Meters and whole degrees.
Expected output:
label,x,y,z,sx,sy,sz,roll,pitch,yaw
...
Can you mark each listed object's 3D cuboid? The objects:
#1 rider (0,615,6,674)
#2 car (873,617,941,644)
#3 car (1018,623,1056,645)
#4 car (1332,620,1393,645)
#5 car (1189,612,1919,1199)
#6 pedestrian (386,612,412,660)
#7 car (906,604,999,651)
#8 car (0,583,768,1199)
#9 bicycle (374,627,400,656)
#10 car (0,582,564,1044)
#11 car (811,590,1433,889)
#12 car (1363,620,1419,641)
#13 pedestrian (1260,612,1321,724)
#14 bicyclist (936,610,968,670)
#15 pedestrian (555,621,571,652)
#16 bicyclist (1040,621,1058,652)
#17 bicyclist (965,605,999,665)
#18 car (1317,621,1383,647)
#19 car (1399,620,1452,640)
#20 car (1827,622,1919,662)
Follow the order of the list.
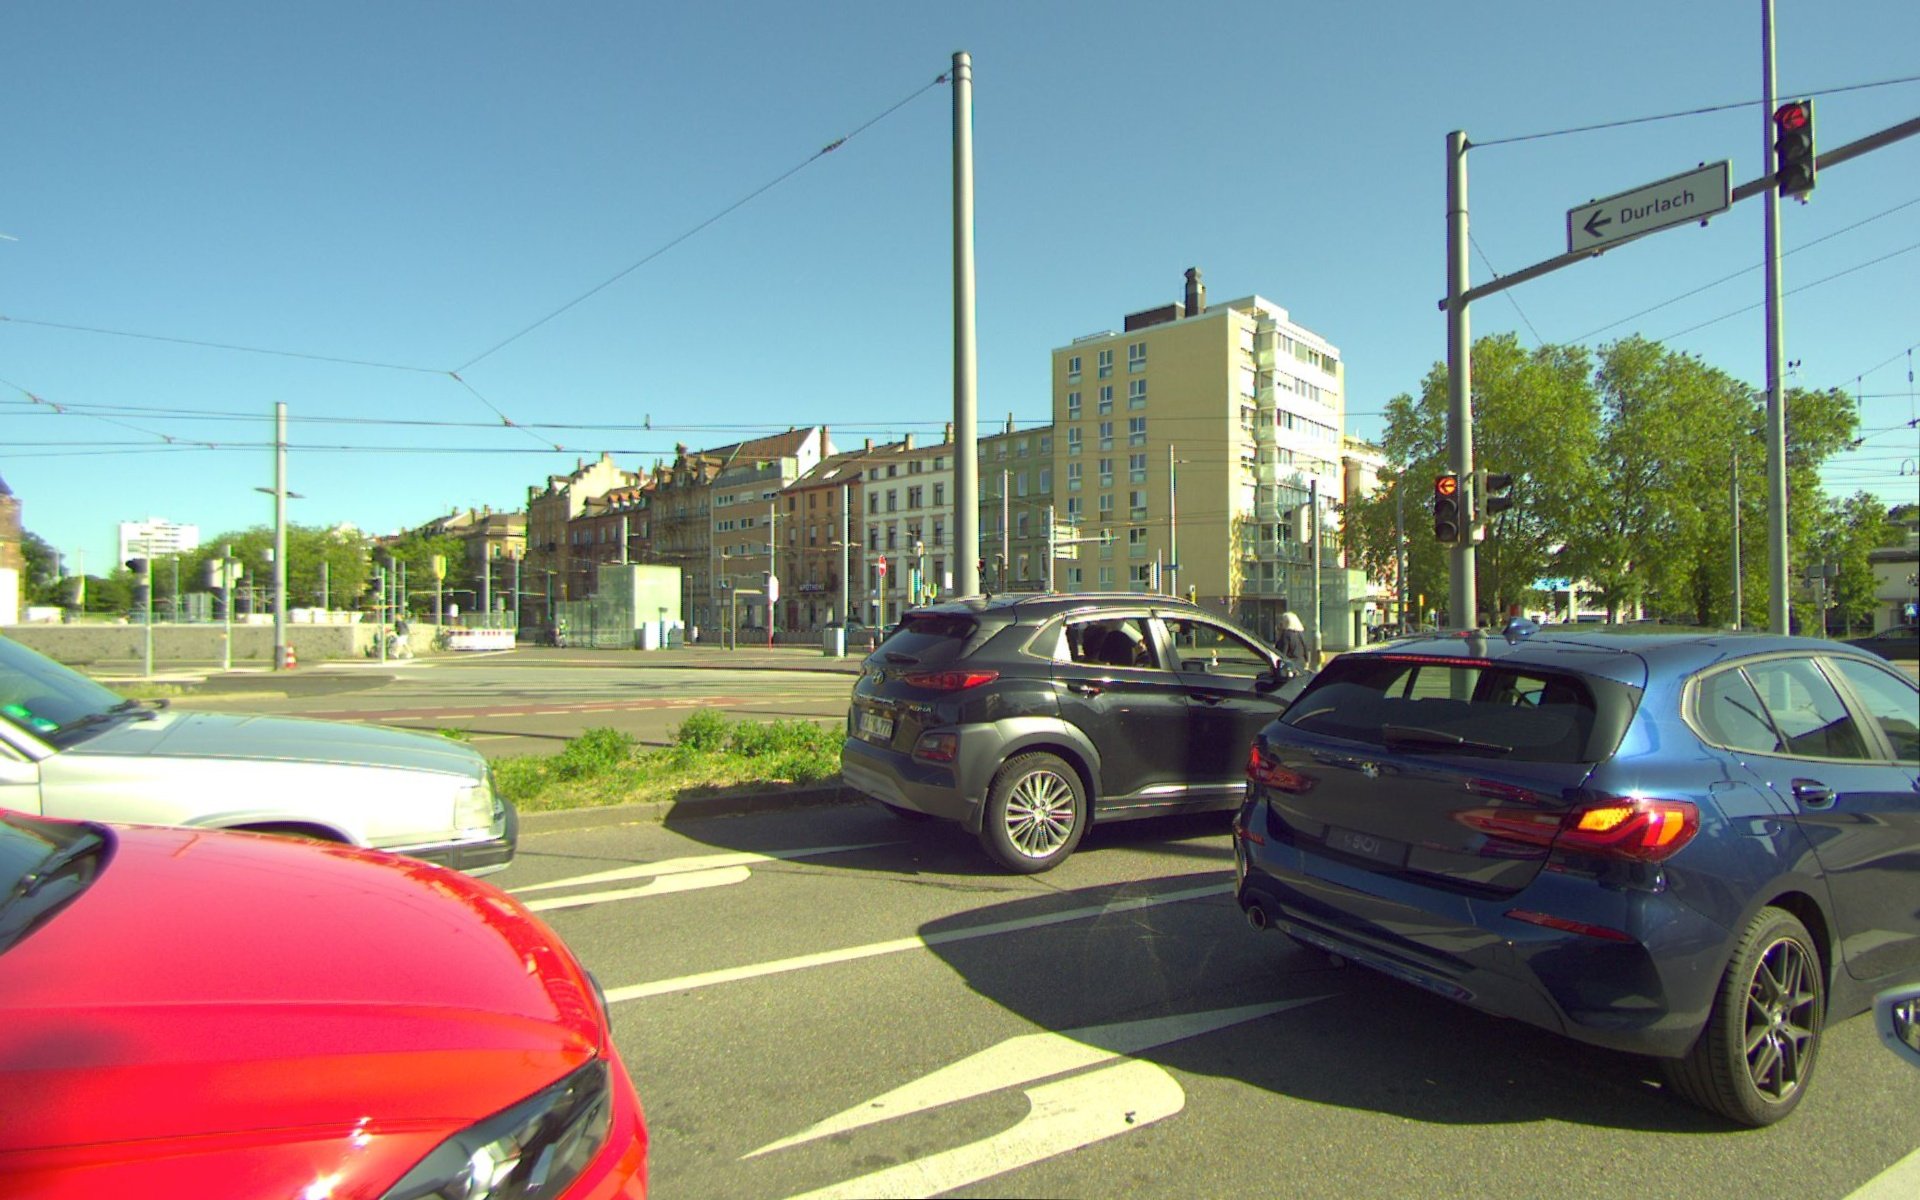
label,x,y,z,sx,sy,sz,roll,pitch,yaw
rider,-24.580,1.119,25.089,0.846,1.483,0.669,0,-1,-10
car,-3.412,1.929,63.987,4.245,1.675,1.849,-1,-2,41
car,5.242,2.334,68.792,1.745,1.446,3.873,0,-1,-10
car,28.241,2.252,70.588,3.691,1.684,1.586,-1,-2,42
car,3.066,0.822,4.259,3.983,1.464,1.703,1,0,-30
pedestrian,-22.261,1.421,39.888,0.871,1.879,0.683,1,-1,-29
car,-0.491,1.551,56.644,5.342,2.541,1.989,-1,-2,42
car,-2.326,0.708,1.160,3.809,1.492,1.661,1,0,-31
bicycle,-23.569,1.706,41.312,0.461,1.189,1.252,0,-1,-6
car,-4.073,0.685,3.637,4.699,1.492,1.699,1,-1,-32
car,1.148,0.750,6.877,3.958,1.538,1.751,1,0,-27
car,33.801,2.381,78.842,3.691,1.684,1.586,-1,-2,42
pedestrian,4.740,0.968,14.425,0.747,1.575,0.357,0,-1,-10
bicyclist,-0.226,1.116,28.289,0.668,1.676,0.781,0,-1,-21
pedestrian,-22.315,2.026,56.440,0.672,1.735,0.793,1,-1,-37
bicyclist,4.272,1.753,48.086,0.609,1.462,0.614,1,-1,-29
bicyclist,0.627,0.994,28.692,0.671,1.676,0.777,1,-1,-35
car,25.363,2.185,65.427,3.691,1.684,1.586,-1,-2,42
car,38.842,2.498,83.820,3.691,1.684,1.586,-1,-2,42
car,33.995,1.502,36.185,4.164,1.419,1.849,-1,-2,42
